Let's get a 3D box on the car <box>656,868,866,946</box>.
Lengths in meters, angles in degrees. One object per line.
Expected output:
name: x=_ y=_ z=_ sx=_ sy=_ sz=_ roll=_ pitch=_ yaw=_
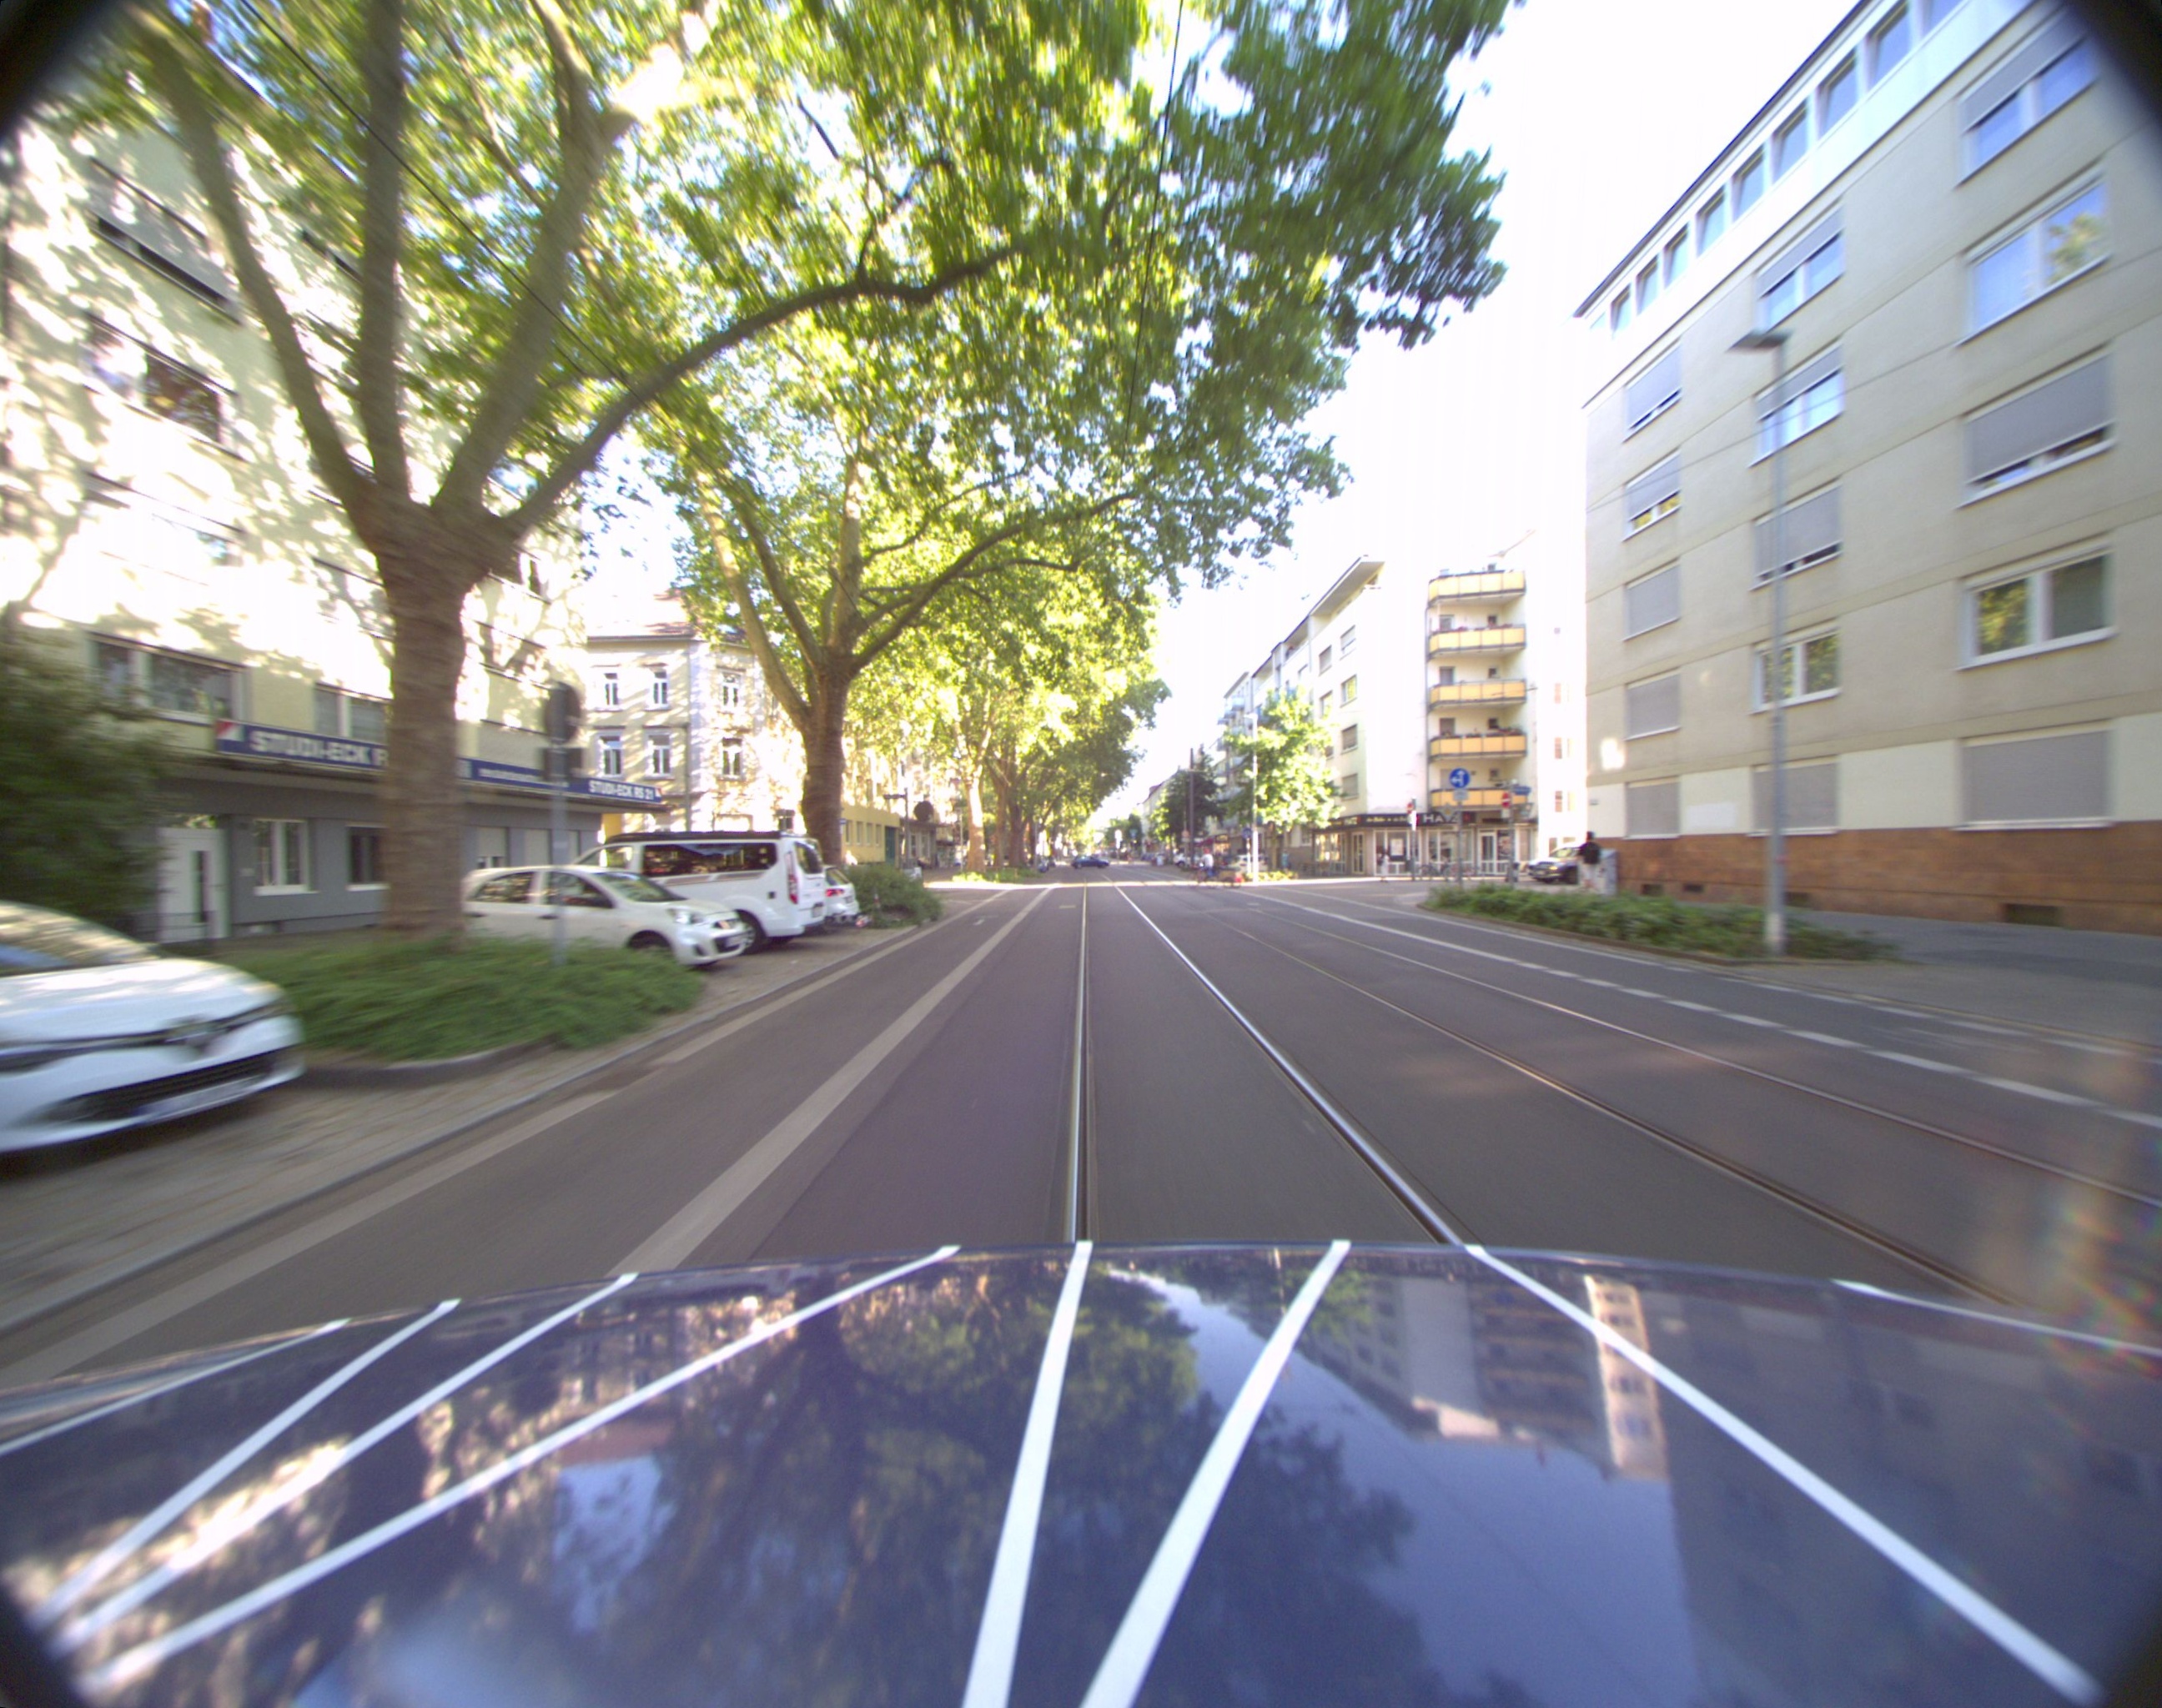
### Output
car: x=-6.510 y=1.057 z=15.718 sx=3.570 sy=1.431 sz=1.726 roll=-1 pitch=1 yaw=4

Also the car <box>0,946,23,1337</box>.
car: x=-6.214 y=1.095 z=2.021 sx=4.206 sy=1.473 sz=1.911 roll=0 pitch=1 yaw=2

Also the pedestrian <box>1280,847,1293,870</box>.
pedestrian: x=13.504 y=0.288 z=49.950 sx=0.596 sy=1.496 sz=0.655 roll=-2 pitch=1 yaw=1

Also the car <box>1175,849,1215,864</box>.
car: x=11.716 y=0.277 z=78.301 sx=3.953 sy=1.515 sz=1.587 roll=-1 pitch=1 yaw=4

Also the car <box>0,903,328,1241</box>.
car: x=-6.798 y=1.069 z=4.266 sx=3.483 sy=1.473 sz=1.643 roll=0 pitch=1 yaw=0

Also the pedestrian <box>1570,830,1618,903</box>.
pedestrian: x=13.848 y=0.327 z=20.525 sx=0.773 sy=1.888 sz=0.799 roll=-2 pitch=1 yaw=8

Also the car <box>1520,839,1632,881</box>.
car: x=22.146 y=0.266 z=34.073 sx=3.998 sy=1.783 sz=1.650 roll=-1 pitch=1 yaw=-4

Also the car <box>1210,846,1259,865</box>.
car: x=13.032 y=0.134 z=64.587 sx=3.953 sy=1.515 sz=1.587 roll=-1 pitch=1 yaw=4

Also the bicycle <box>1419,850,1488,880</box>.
bicycle: x=17.223 y=0.527 z=35.218 sx=2.804 sy=1.306 sz=0.539 roll=-2 pitch=1 yaw=20

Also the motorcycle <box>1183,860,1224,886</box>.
motorcycle: x=5.522 y=0.841 z=34.318 sx=1.827 sy=1.112 sz=0.591 roll=0 pitch=1 yaw=43

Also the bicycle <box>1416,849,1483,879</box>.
bicycle: x=17.369 y=0.486 z=35.888 sx=2.804 sy=1.306 sz=0.539 roll=-2 pitch=1 yaw=20

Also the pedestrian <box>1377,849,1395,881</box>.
pedestrian: x=14.435 y=0.503 z=35.939 sx=0.595 sy=1.496 sz=0.656 roll=-2 pitch=1 yaw=8

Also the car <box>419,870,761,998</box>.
car: x=-6.583 y=1.034 z=10.490 sx=3.572 sy=1.522 sz=1.677 roll=-1 pitch=1 yaw=-1

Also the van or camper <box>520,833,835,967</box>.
van or camper: x=-6.748 y=0.718 z=13.118 sx=4.388 sy=2.097 sz=1.838 roll=0 pitch=1 yaw=-3

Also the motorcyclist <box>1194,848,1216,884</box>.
motorcyclist: x=5.567 y=0.531 z=34.225 sx=0.754 sy=1.609 sz=0.590 roll=0 pitch=1 yaw=42
